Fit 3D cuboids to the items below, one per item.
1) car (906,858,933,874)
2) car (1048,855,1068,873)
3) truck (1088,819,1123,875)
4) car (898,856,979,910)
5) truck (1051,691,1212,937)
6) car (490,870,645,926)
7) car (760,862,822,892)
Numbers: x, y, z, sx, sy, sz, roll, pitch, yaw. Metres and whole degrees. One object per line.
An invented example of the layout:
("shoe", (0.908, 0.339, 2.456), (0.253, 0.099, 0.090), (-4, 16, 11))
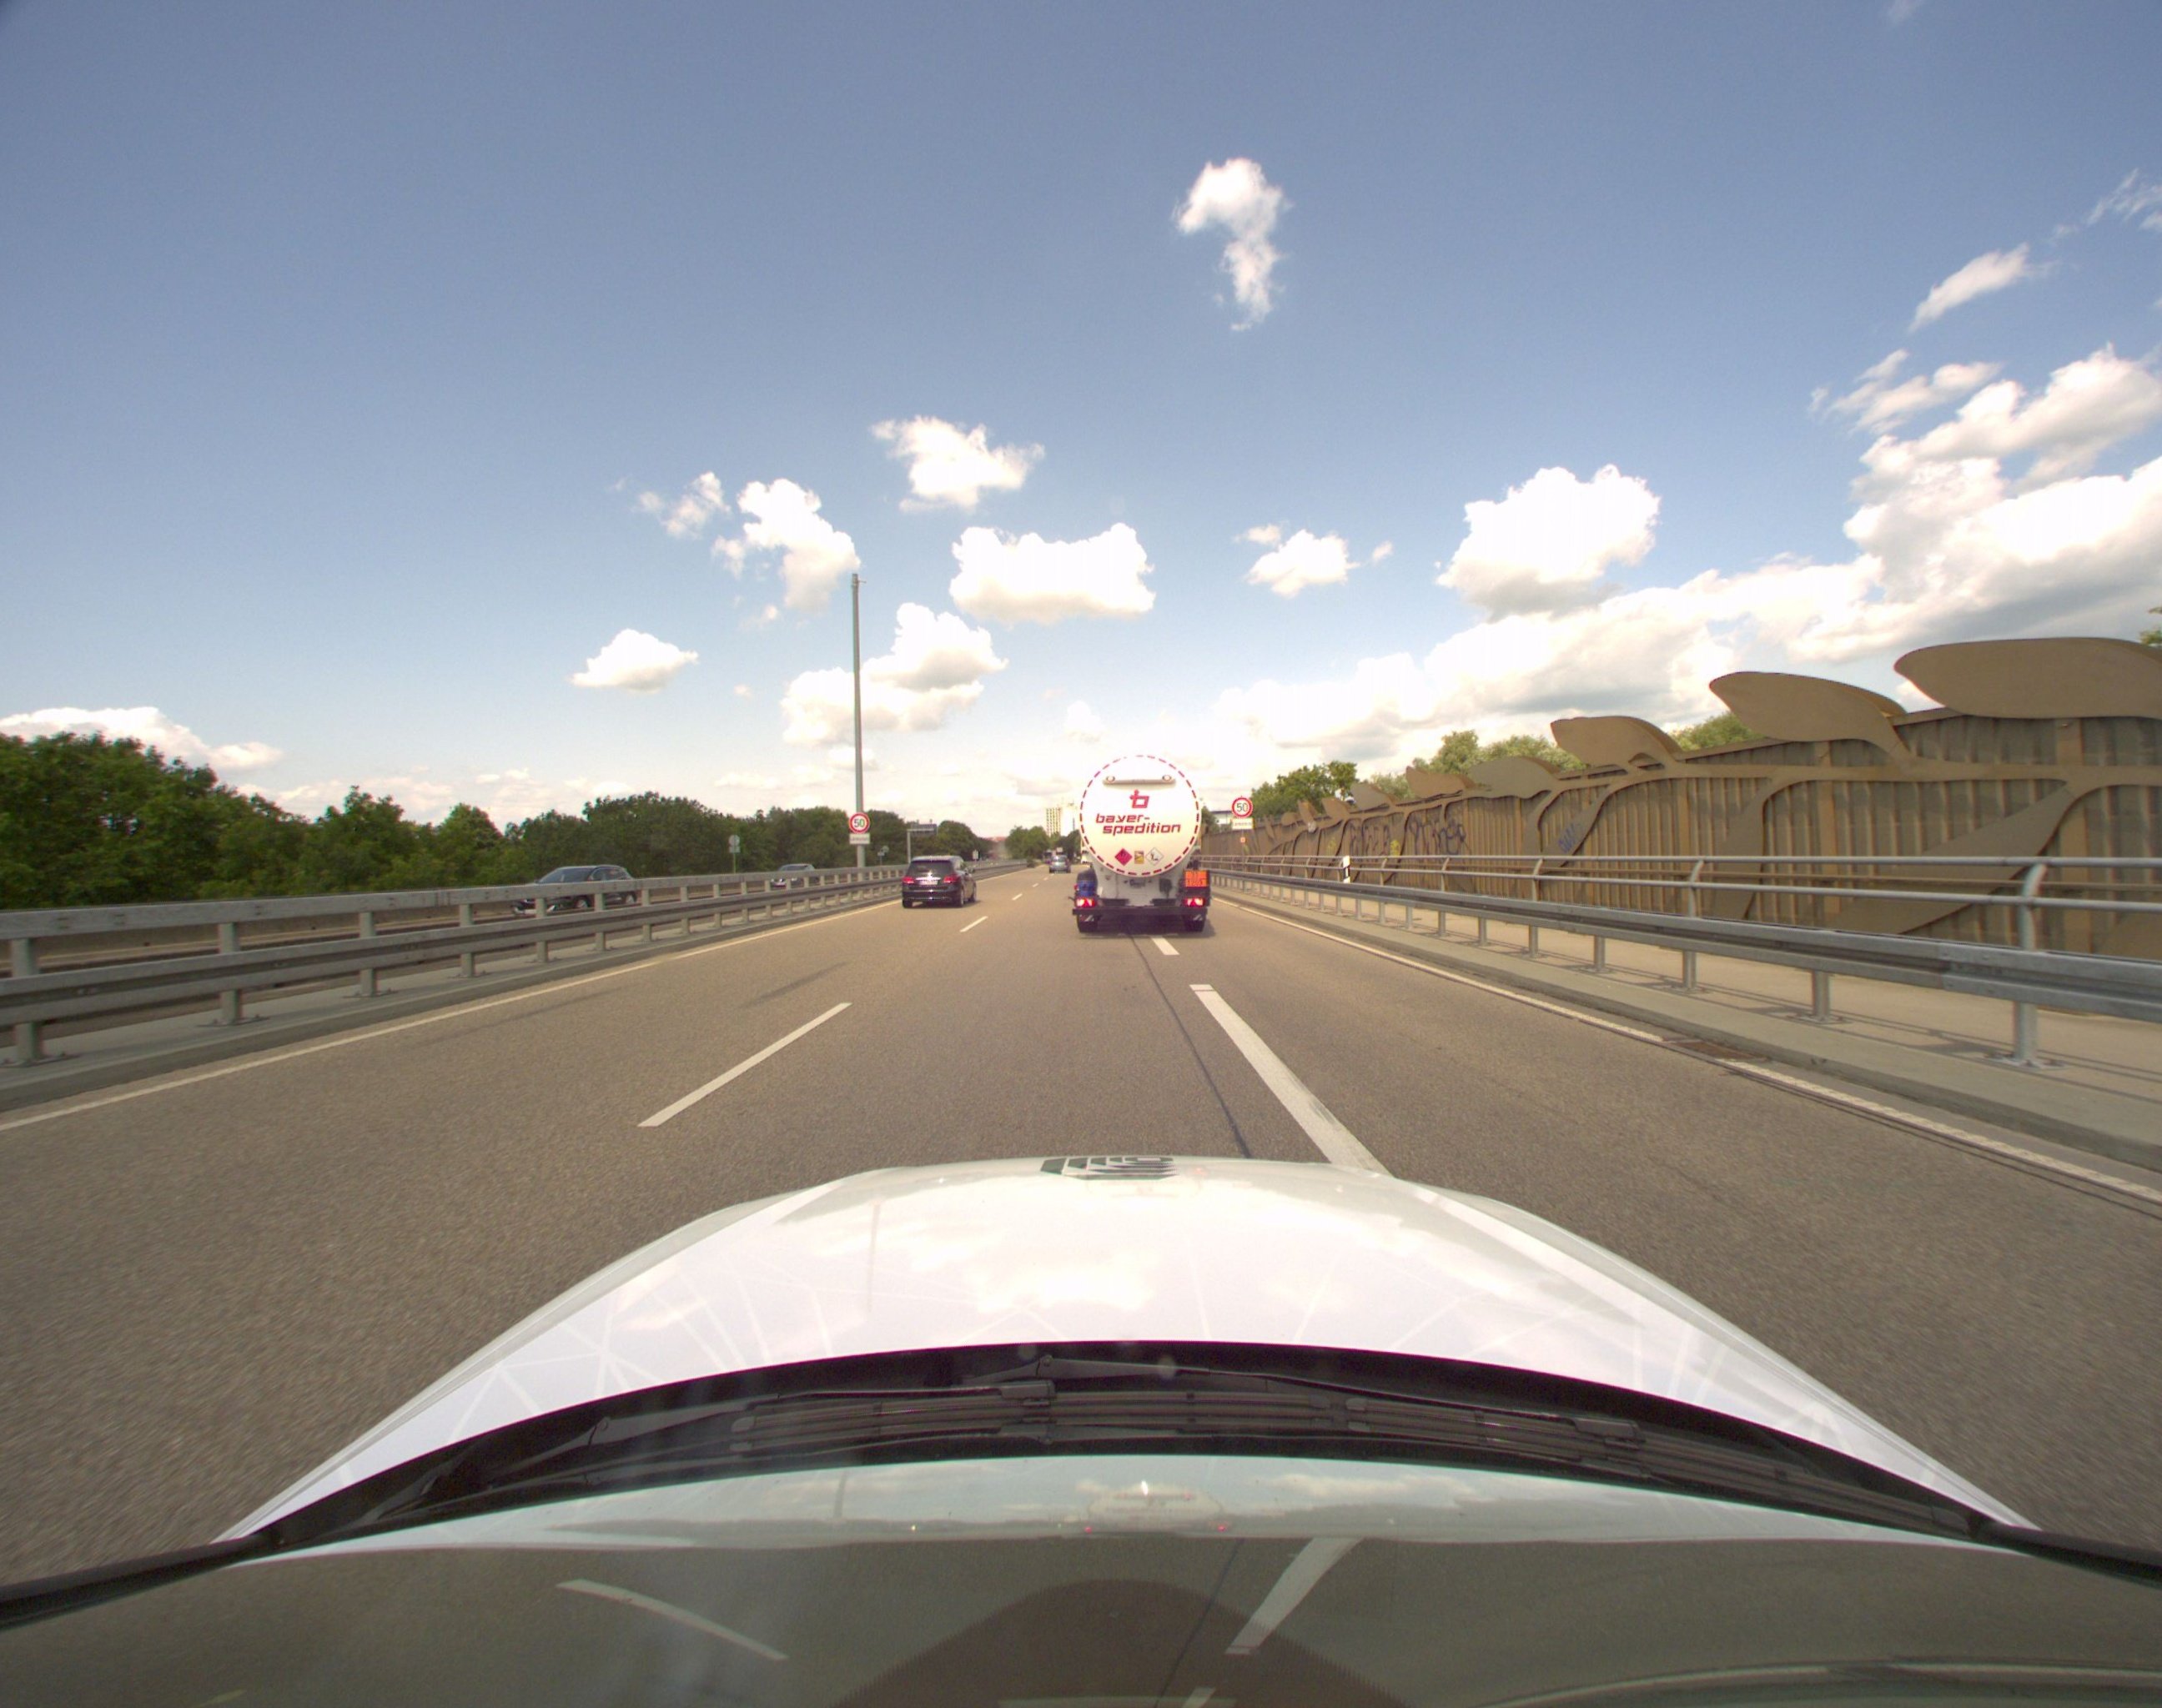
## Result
("car", (-16.516, 1.225, 83.453), (1.988, 1.640, 3.998), (0, 0, -1))
("car", (-2.044, 0.905, 73.757), (1.742, 1.531, 3.999), (-1, 0, 0))
("truck", (2.109, -0.585, 73.592), (2.886, 4.808, 8.027), (0, 0, -1))
("car", (-4.359, 0.836, 25.559), (1.706, 1.527, 4.592), (0, 0, 0))
("truck", (1.247, -0.718, 18.567), (2.881, 4.368, 8.040), (0, 0, 5))
("car", (-15.817, 1.301, 25.426), (1.906, 1.464, 4.519), (-1, 0, 1))
("car", (-16.017, 1.237, 45.220), (1.987, 1.574, 3.999), (0, 0, 0))
